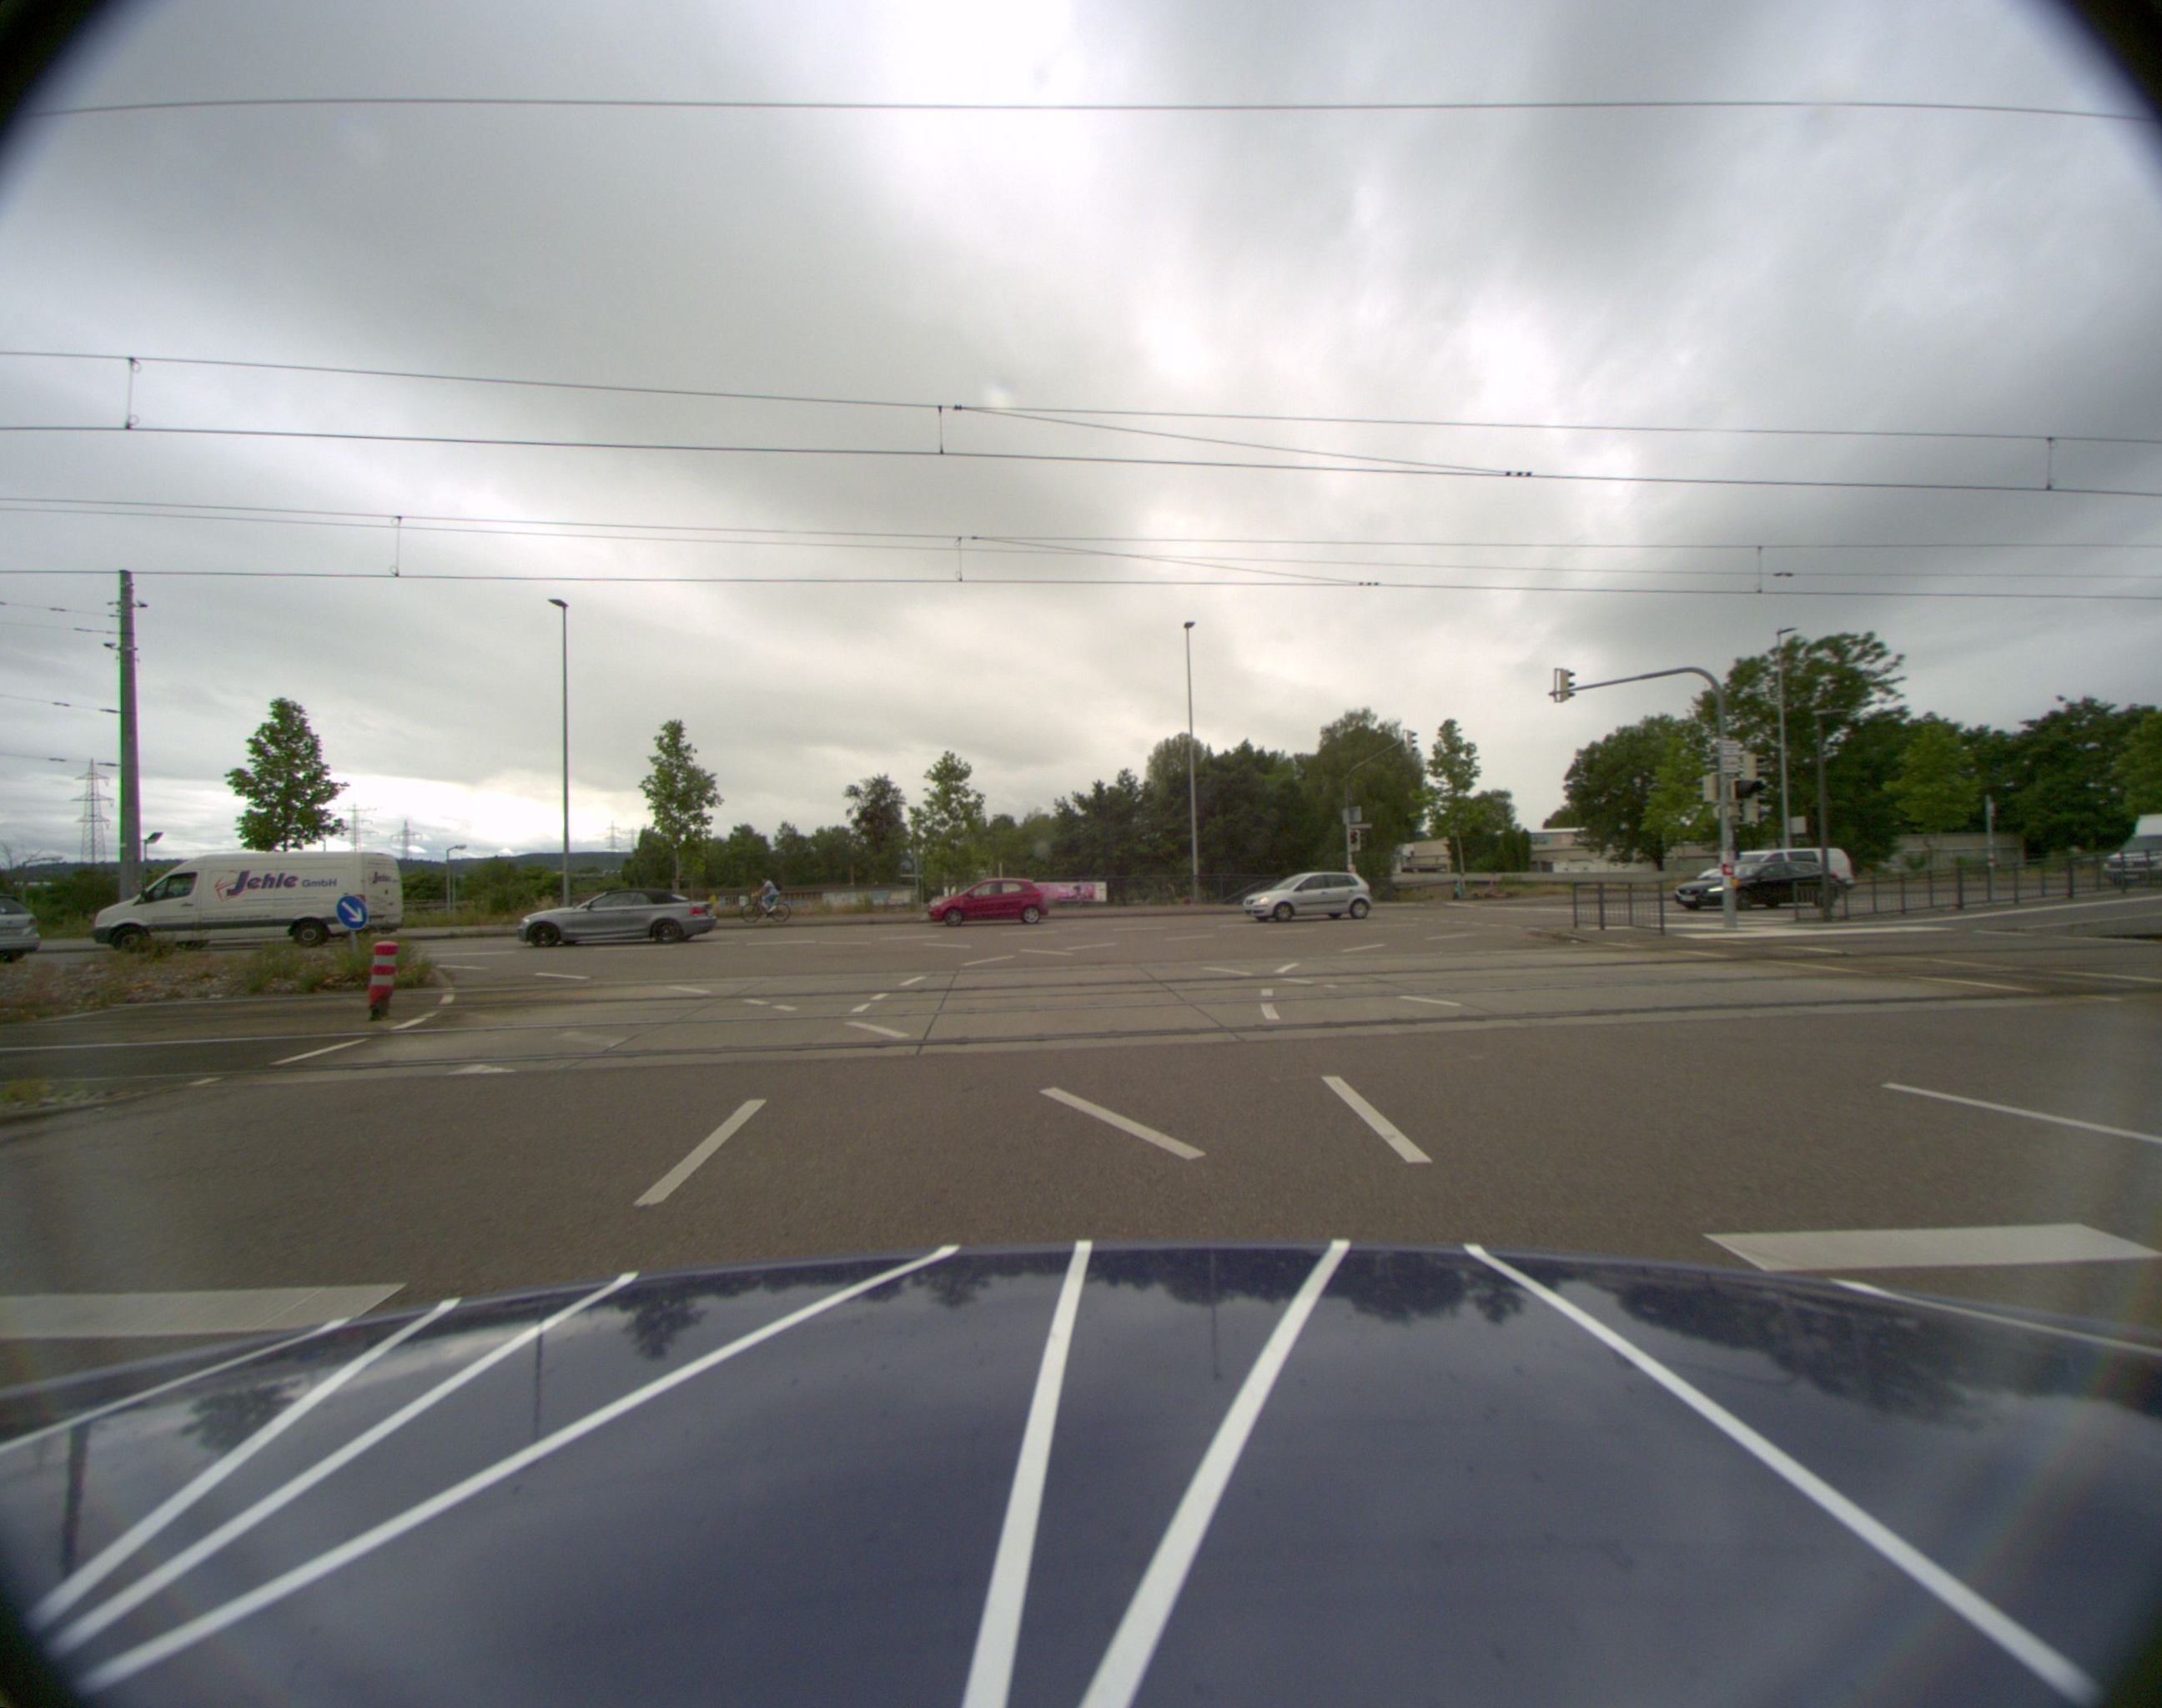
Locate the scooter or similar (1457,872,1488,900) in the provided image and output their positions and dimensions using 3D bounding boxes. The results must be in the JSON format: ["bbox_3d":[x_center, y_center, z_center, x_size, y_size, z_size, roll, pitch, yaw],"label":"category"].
[{"bbox_3d":[17.406,1.421,33.794,1.154,1.236,0.391,-1,0,-3],"label":"scooter or similar"}]

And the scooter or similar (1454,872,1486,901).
[{"bbox_3d":[17.062,1.414,33.323,1.153,1.236,0.478,-1,0,2],"label":"scooter or similar"}]

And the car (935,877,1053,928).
[{"bbox_3d":[-2.926,1.586,25.281,3.772,1.551,1.655,-1,-2,-11],"label":"car"}]

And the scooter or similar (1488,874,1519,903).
[{"bbox_3d":[18.647,1.520,33.529,1.046,1.208,0.375,-4,0,2],"label":"scooter or similar"}]

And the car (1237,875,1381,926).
[{"bbox_3d":[6.934,1.400,23.310,3.850,1.410,1.682,-1,-2,-11],"label":"car"}]

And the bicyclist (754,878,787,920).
[{"bbox_3d":[-11.204,1.605,27.438,0.968,1.445,0.691,0,1,-12],"label":"bicyclist"}]

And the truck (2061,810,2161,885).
[{"bbox_3d":[45.334,-0.276,31.316,6.542,2.905,2.828,-1,-2,-4],"label":"truck"}]

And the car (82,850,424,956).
[{"bbox_3d":[-22.580,1.286,21.159,5.903,2.609,2.662,-1,-2,-16],"label":"car"}]

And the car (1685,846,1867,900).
[{"bbox_3d":[26.609,0.756,29.214,5.117,1.868,2.101,-1,-2,-2],"label":"car"}]

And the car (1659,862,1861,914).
[{"bbox_3d":[20.337,1.025,22.895,4.341,1.382,2.000,-1,-2,-3],"label":"car"}]

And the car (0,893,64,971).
[{"bbox_3d":[-23.708,1.610,14.910,4.203,1.542,1.859,-1,-2,-15],"label":"car"}]

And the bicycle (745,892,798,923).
[{"bbox_3d":[-11.189,1.934,27.490,1.709,1.040,0.548,0,1,-12],"label":"bicycle"}]

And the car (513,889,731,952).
[{"bbox_3d":[-11.385,1.619,19.192,4.345,1.382,1.875,-1,-2,-14],"label":"car"}]
